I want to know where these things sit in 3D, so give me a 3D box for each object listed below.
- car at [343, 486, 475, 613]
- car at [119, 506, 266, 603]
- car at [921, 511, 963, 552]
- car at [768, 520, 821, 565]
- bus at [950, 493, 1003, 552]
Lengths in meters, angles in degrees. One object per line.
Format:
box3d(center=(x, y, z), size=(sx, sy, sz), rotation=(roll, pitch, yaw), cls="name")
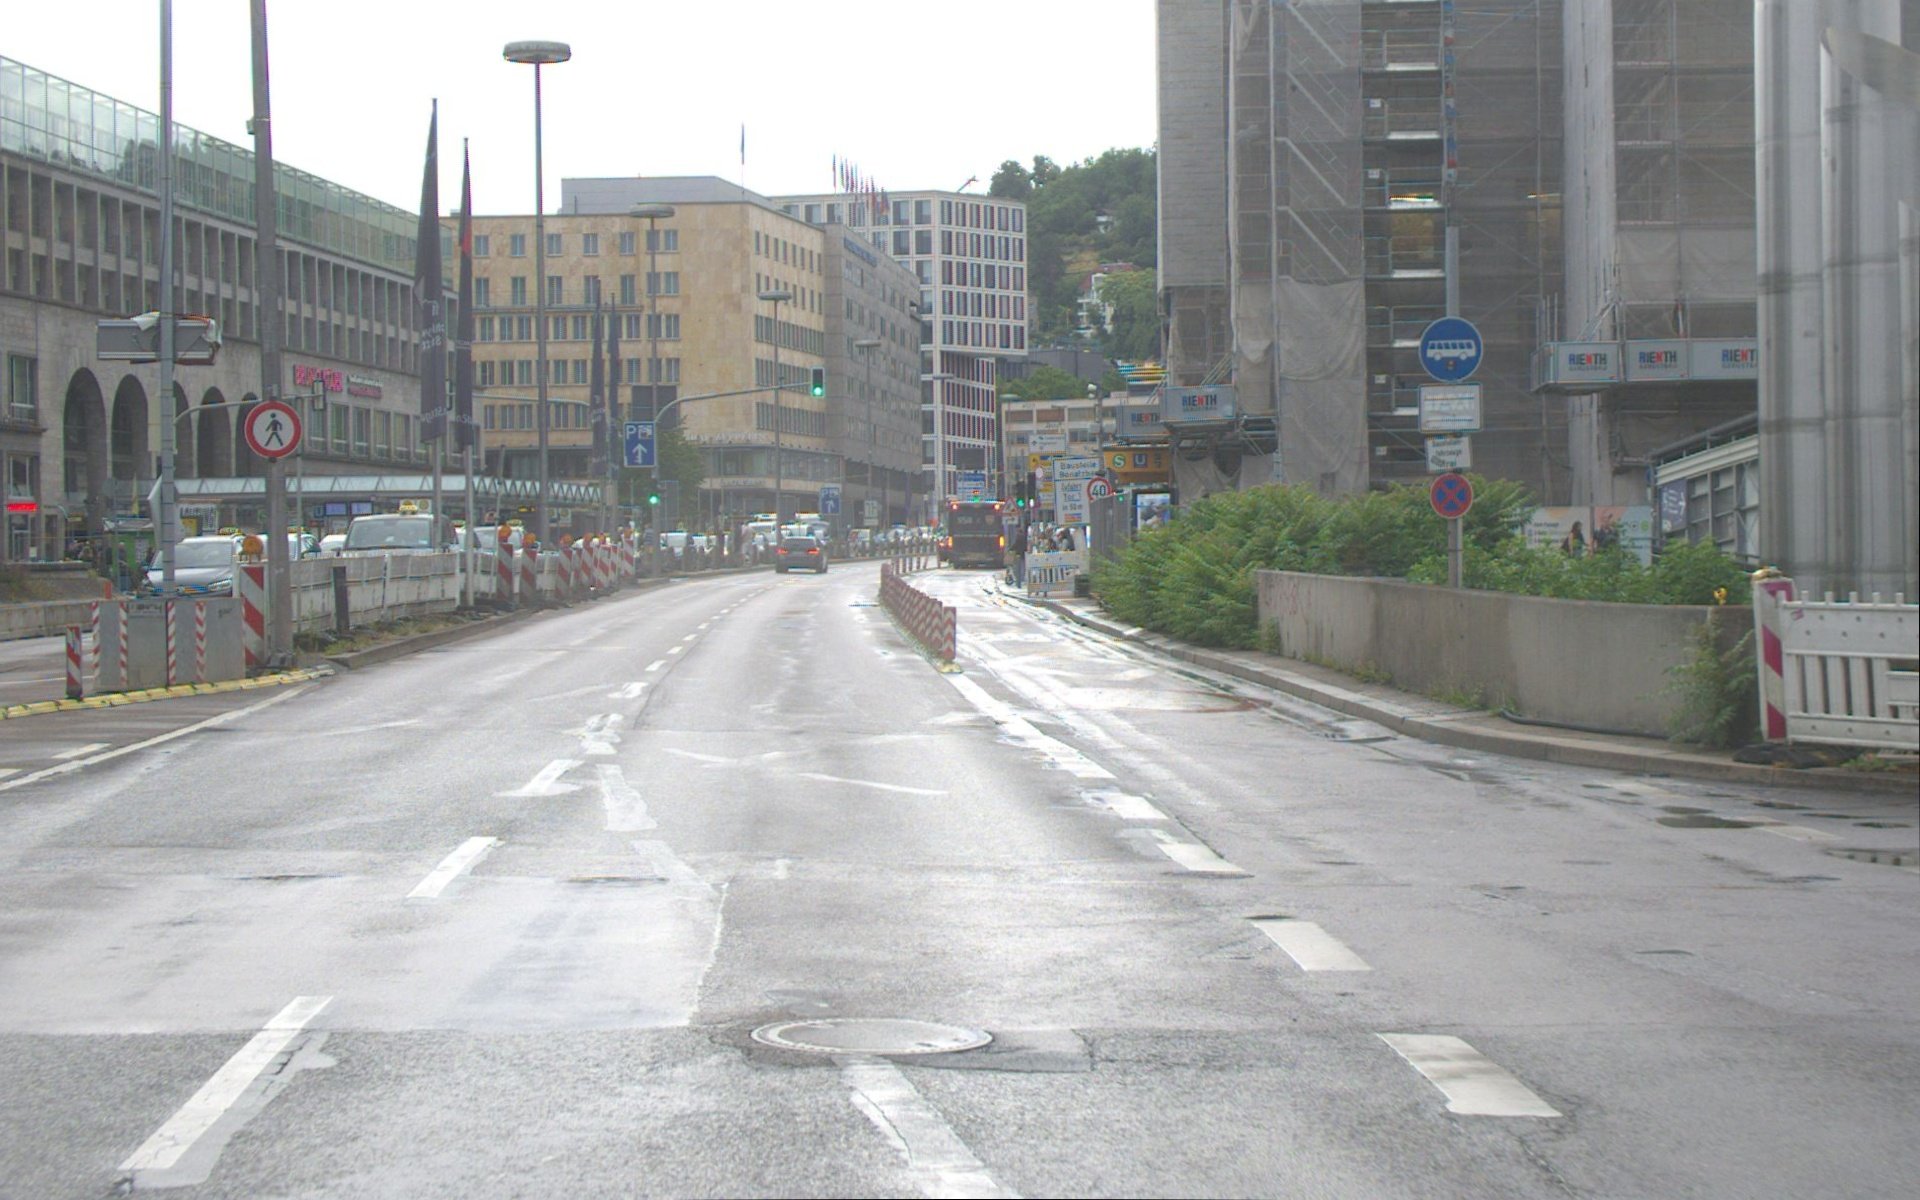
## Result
box3d(center=(-9.955, -0.875, 62.403), size=(1.902, 2.075, 4.177), rotation=(-3, -1, -4), cls="car")
box3d(center=(-13.813, -0.793, 62.071), size=(1.902, 1.523, 4.177), rotation=(-3, -1, -4), cls="car")
box3d(center=(-0.963, -3.724, 188.292), size=(1.994, 2.007, 3.999), rotation=(-3, -1, 3), cls="car")
box3d(center=(-6.417, -2.221, 133.188), size=(1.902, 1.523, 4.177), rotation=(-3, -1, -4), cls="car")
box3d(center=(0.768, -3.489, 155.837), size=(1.994, 2.423, 3.999), rotation=(-3, -1, 4), cls="bus")
